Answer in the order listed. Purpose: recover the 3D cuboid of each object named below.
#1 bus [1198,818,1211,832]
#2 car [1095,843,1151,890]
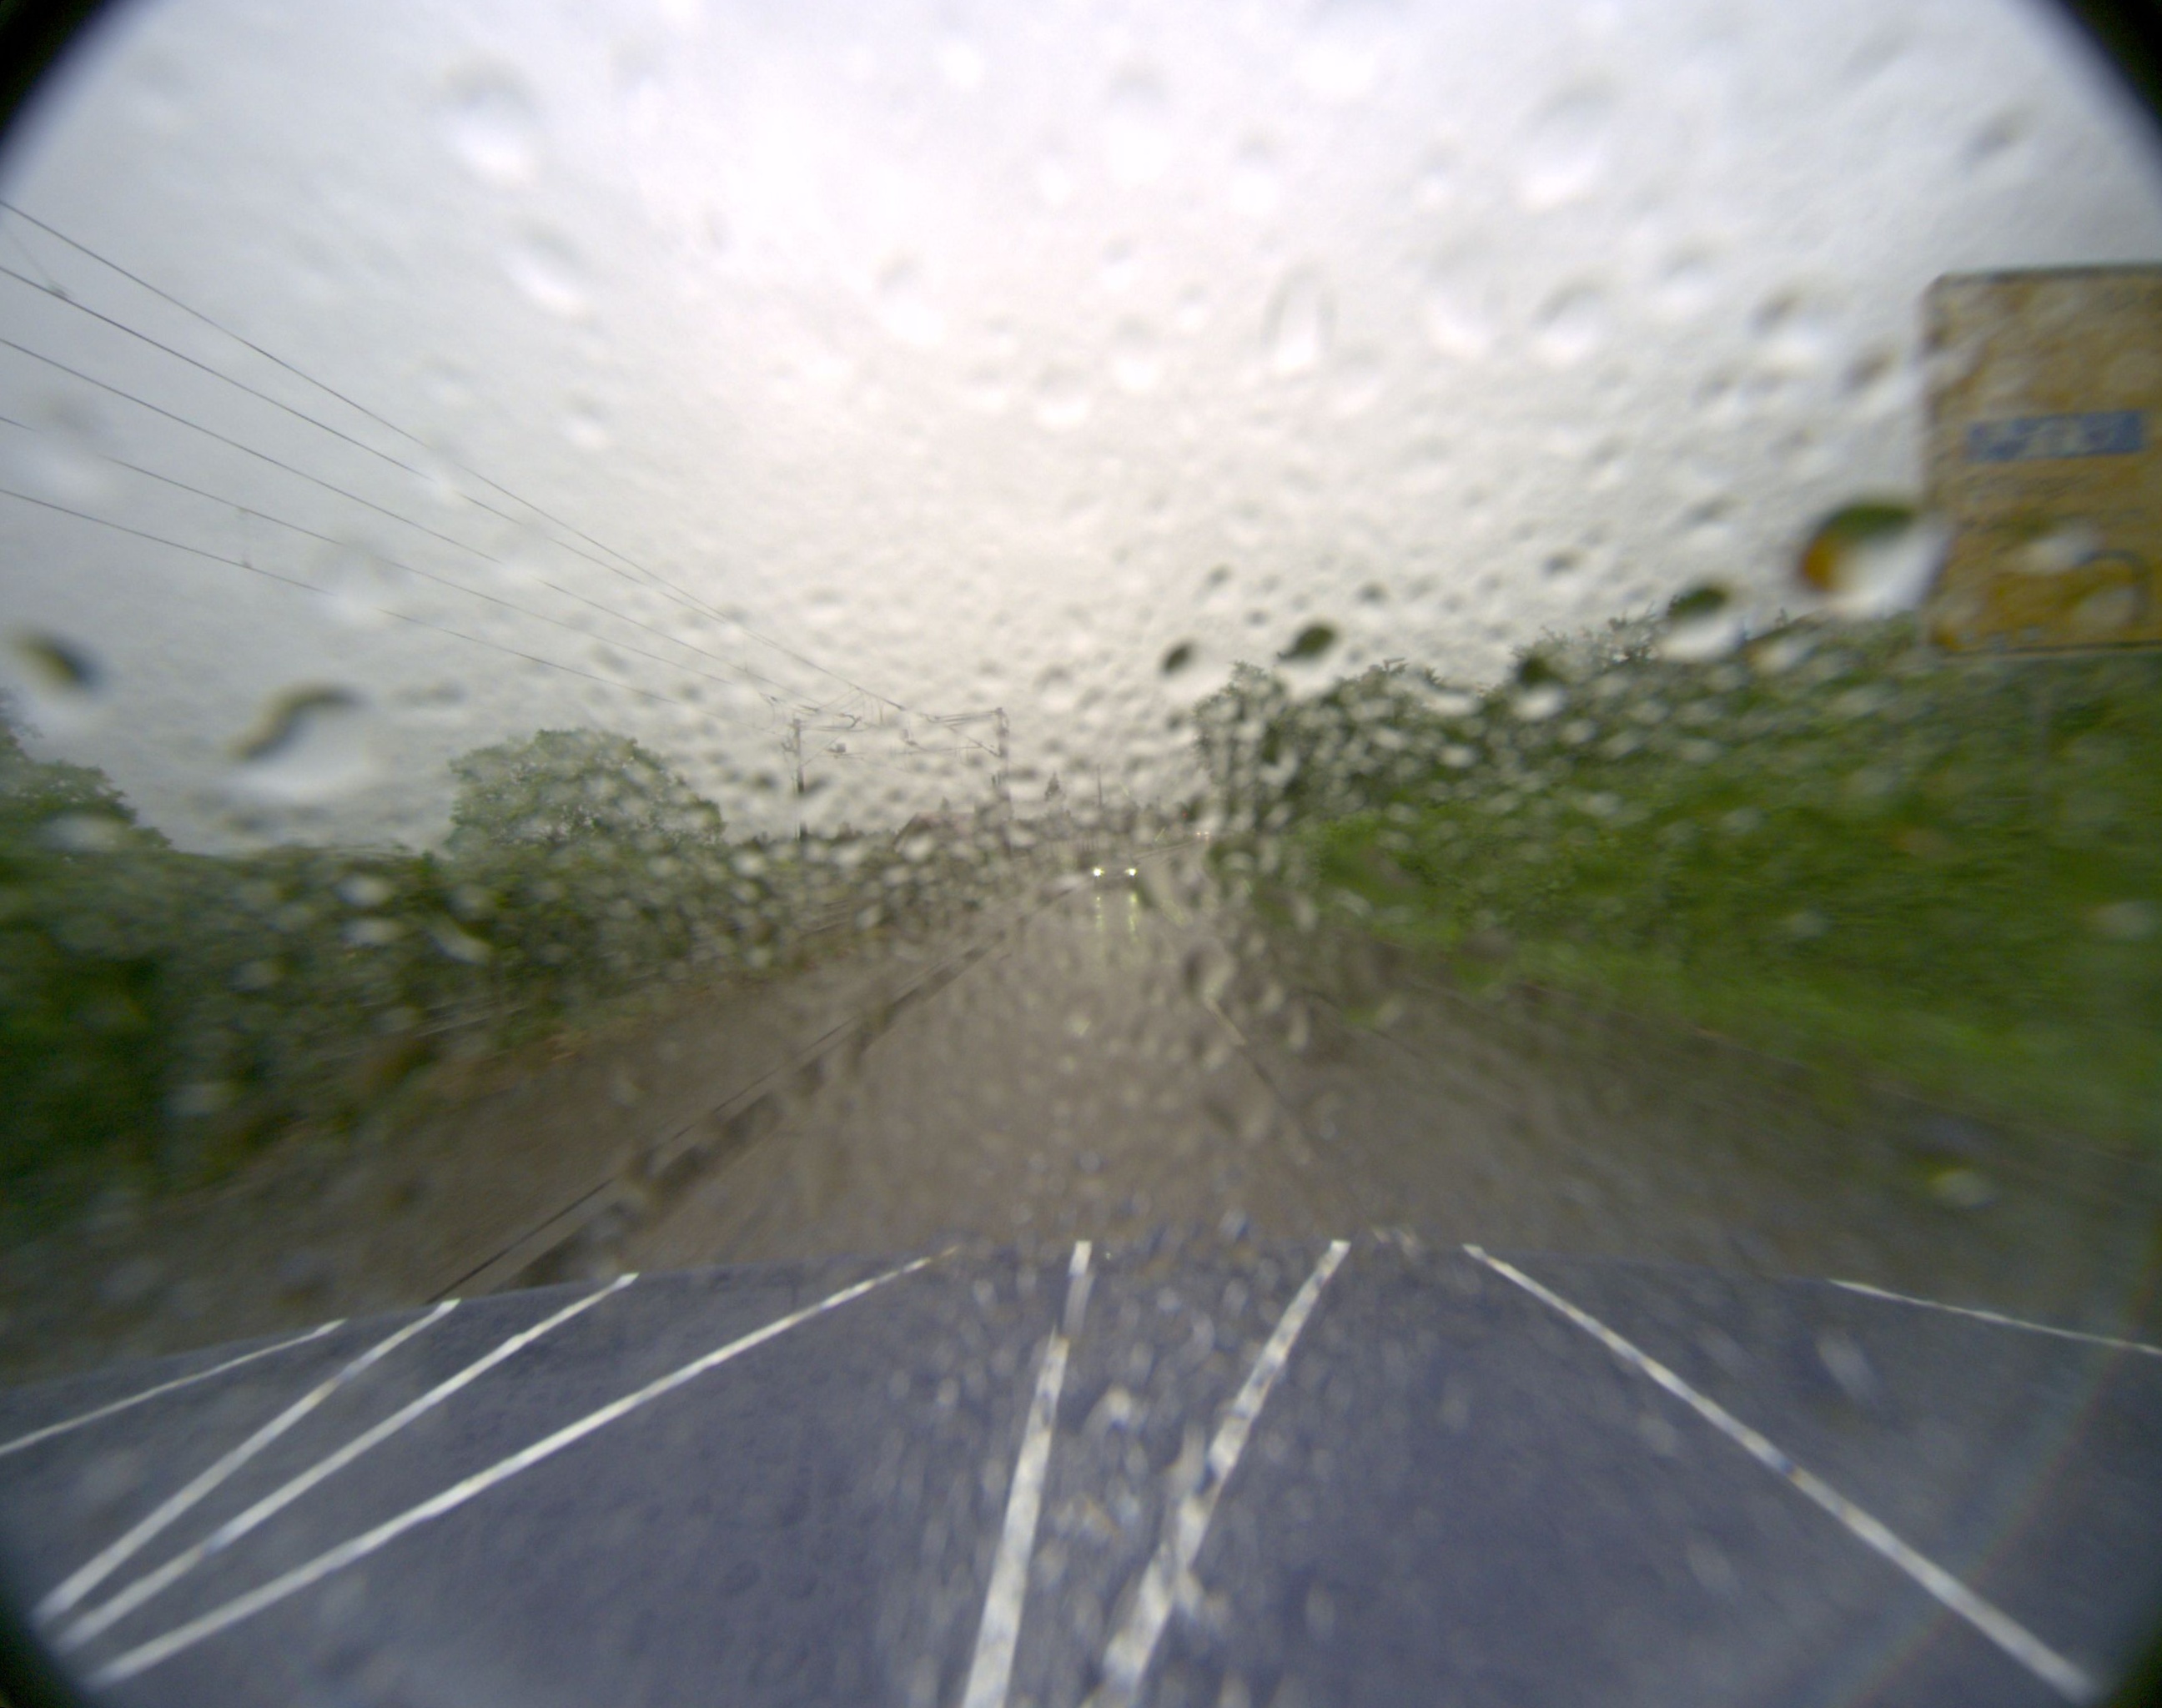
[{"bbox_3d":[30.667,-7.210,188.936,2.674,3.060,9.997,-4,3,11],"label":"bus"},{"bbox_3d":[1.883,0.496,32.806,1.997,1.623,4.000,-4,3,8],"label":"car"}]
